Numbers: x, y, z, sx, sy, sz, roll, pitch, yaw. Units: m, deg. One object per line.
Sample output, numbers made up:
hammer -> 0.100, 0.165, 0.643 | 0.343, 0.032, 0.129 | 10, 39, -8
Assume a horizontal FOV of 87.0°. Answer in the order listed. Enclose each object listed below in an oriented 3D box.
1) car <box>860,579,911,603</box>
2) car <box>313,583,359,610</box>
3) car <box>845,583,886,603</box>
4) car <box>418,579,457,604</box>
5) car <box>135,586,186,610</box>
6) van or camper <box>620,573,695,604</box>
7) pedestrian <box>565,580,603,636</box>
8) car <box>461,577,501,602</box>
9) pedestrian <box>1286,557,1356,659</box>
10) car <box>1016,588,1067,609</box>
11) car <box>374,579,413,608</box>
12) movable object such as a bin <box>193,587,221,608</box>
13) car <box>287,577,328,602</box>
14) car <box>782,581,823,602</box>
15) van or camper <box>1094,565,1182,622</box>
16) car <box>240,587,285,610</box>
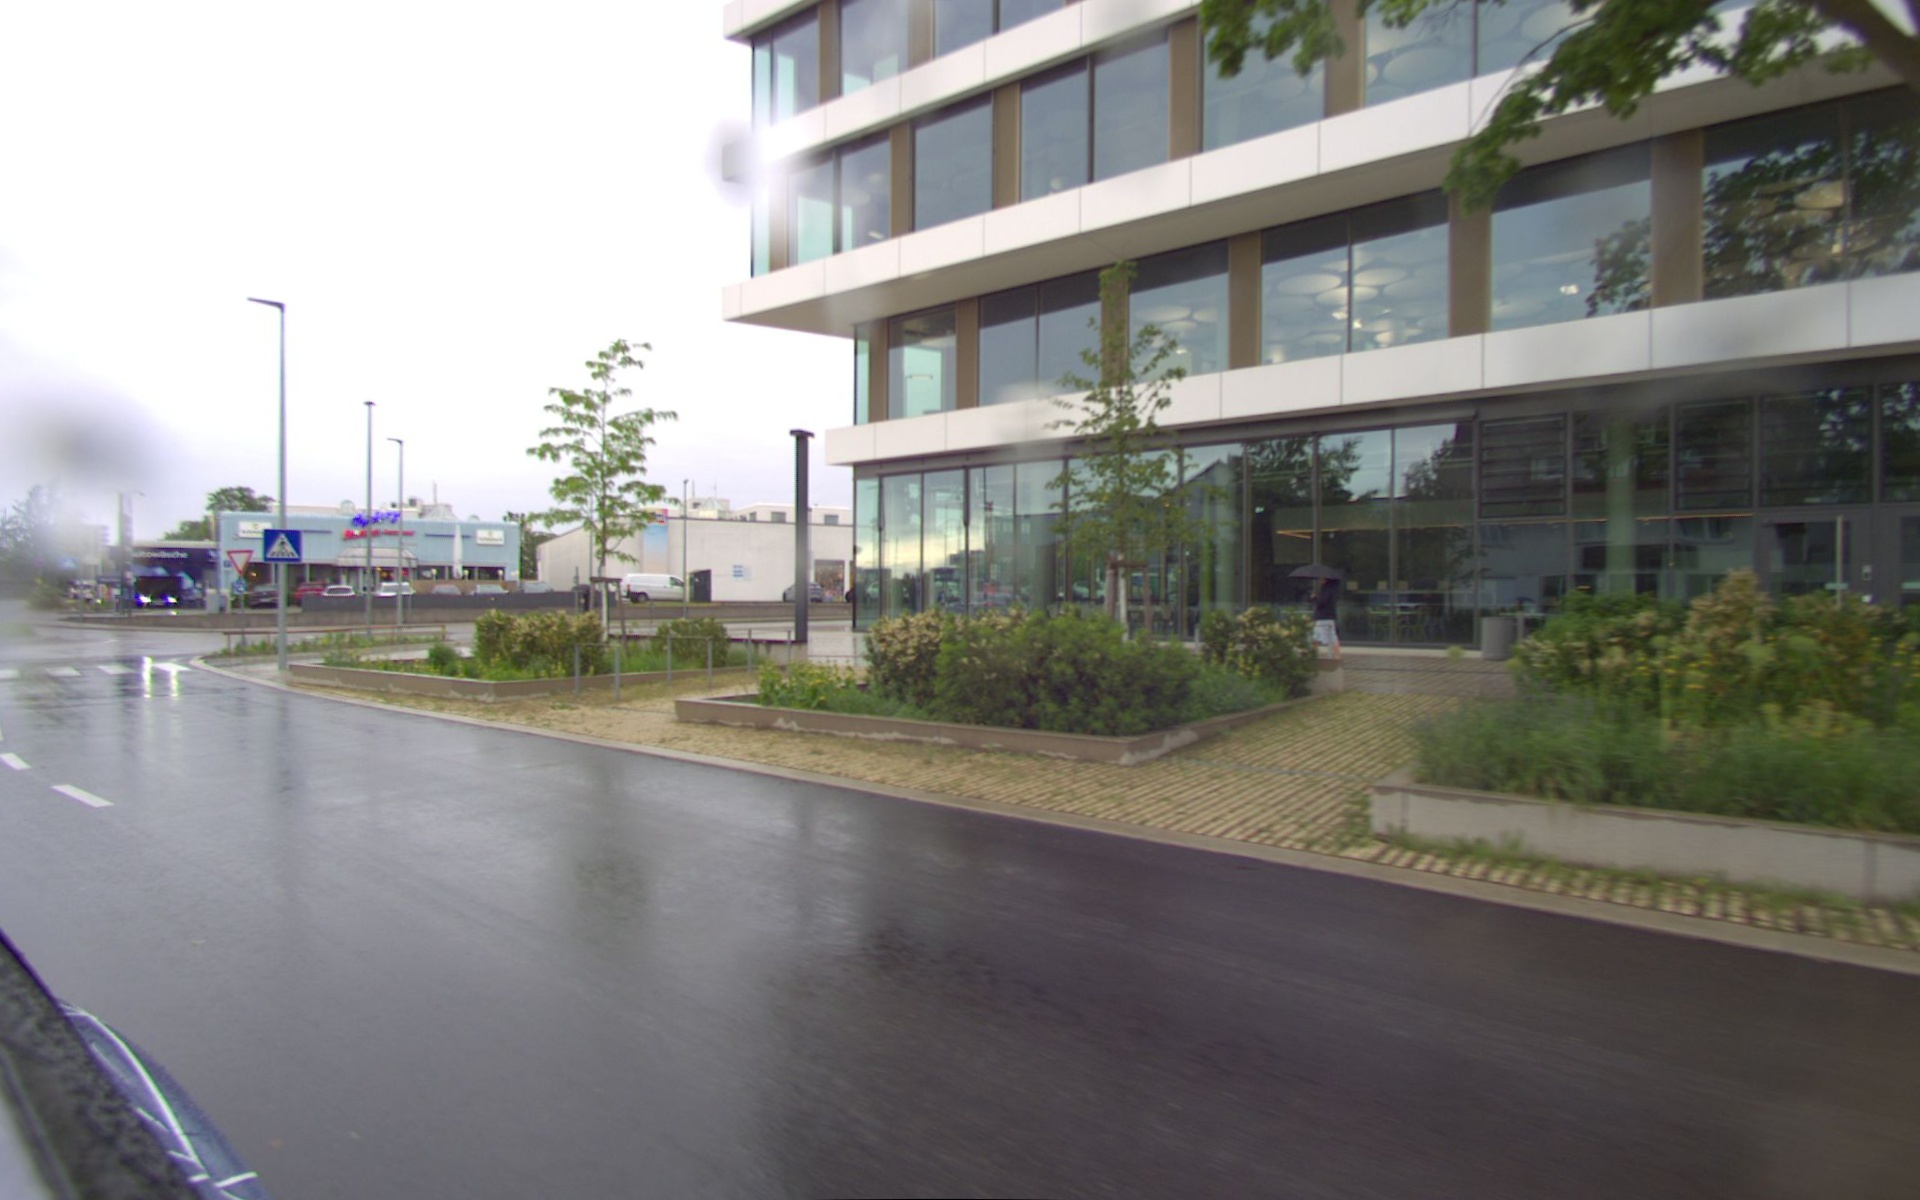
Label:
car -> -5.092, -0.596, 69.157 | 1.821, 1.563, 4.012 | -1, 0, -32
car -> -34.116, -0.207, 55.400 | 1.856, 1.305, 4.013 | -4, 2, -28
car -> -7.564, -0.575, 80.631 | 1.764, 1.563, 4.012 | -1, 0, -30
car -> -30.028, -0.492, 58.098 | 1.856, 1.305, 4.013 | -4, 2, -28
car -> -55.607, -0.124, 70.447 | 1.888, 1.541, 4.013 | -3, 1, -26
van or camper -> -19.688, -0.770, 65.786 | 4.307, 1.774, 1.894 | -4, 2, -28
pedestrian -> -13.848, 0.288, 37.278 | 0.929, 2.029, 0.883 | -1, 0, 34
car -> -28.039, -0.607, 59.141 | 1.856, 1.305, 4.013 | -4, 2, -28
pedestrian -> 6.328, 0.117, 17.723 | 0.956, 1.716, 0.717 | 2, 5, 41
car -> 6.084, -0.119, 75.865 | 1.764, 1.563, 4.012 | -1, 0, -32
car -> -32.077, -0.342, 57.225 | 1.764, 1.563, 4.012 | -1, 0, -32
movable object such as a bin -> -49.880, -0.149, 67.032 | 1.194, 1.305, 1.483 | -4, 2, -28
car -> -42.459, -0.697, 65.886 | 1.856, 1.497, 4.013 | -4, 2, -28
car -> -12.179, -0.653, 77.947 | 1.764, 1.563, 4.012 | -1, 0, -30
van or camper -> 10.617, -0.405, 60.165 | 5.015, 3.111, 2.006 | -3, 1, -31
car -> -44.284, -0.133, 64.334 | 1.856, 1.305, 4.013 | -4, 2, -28
